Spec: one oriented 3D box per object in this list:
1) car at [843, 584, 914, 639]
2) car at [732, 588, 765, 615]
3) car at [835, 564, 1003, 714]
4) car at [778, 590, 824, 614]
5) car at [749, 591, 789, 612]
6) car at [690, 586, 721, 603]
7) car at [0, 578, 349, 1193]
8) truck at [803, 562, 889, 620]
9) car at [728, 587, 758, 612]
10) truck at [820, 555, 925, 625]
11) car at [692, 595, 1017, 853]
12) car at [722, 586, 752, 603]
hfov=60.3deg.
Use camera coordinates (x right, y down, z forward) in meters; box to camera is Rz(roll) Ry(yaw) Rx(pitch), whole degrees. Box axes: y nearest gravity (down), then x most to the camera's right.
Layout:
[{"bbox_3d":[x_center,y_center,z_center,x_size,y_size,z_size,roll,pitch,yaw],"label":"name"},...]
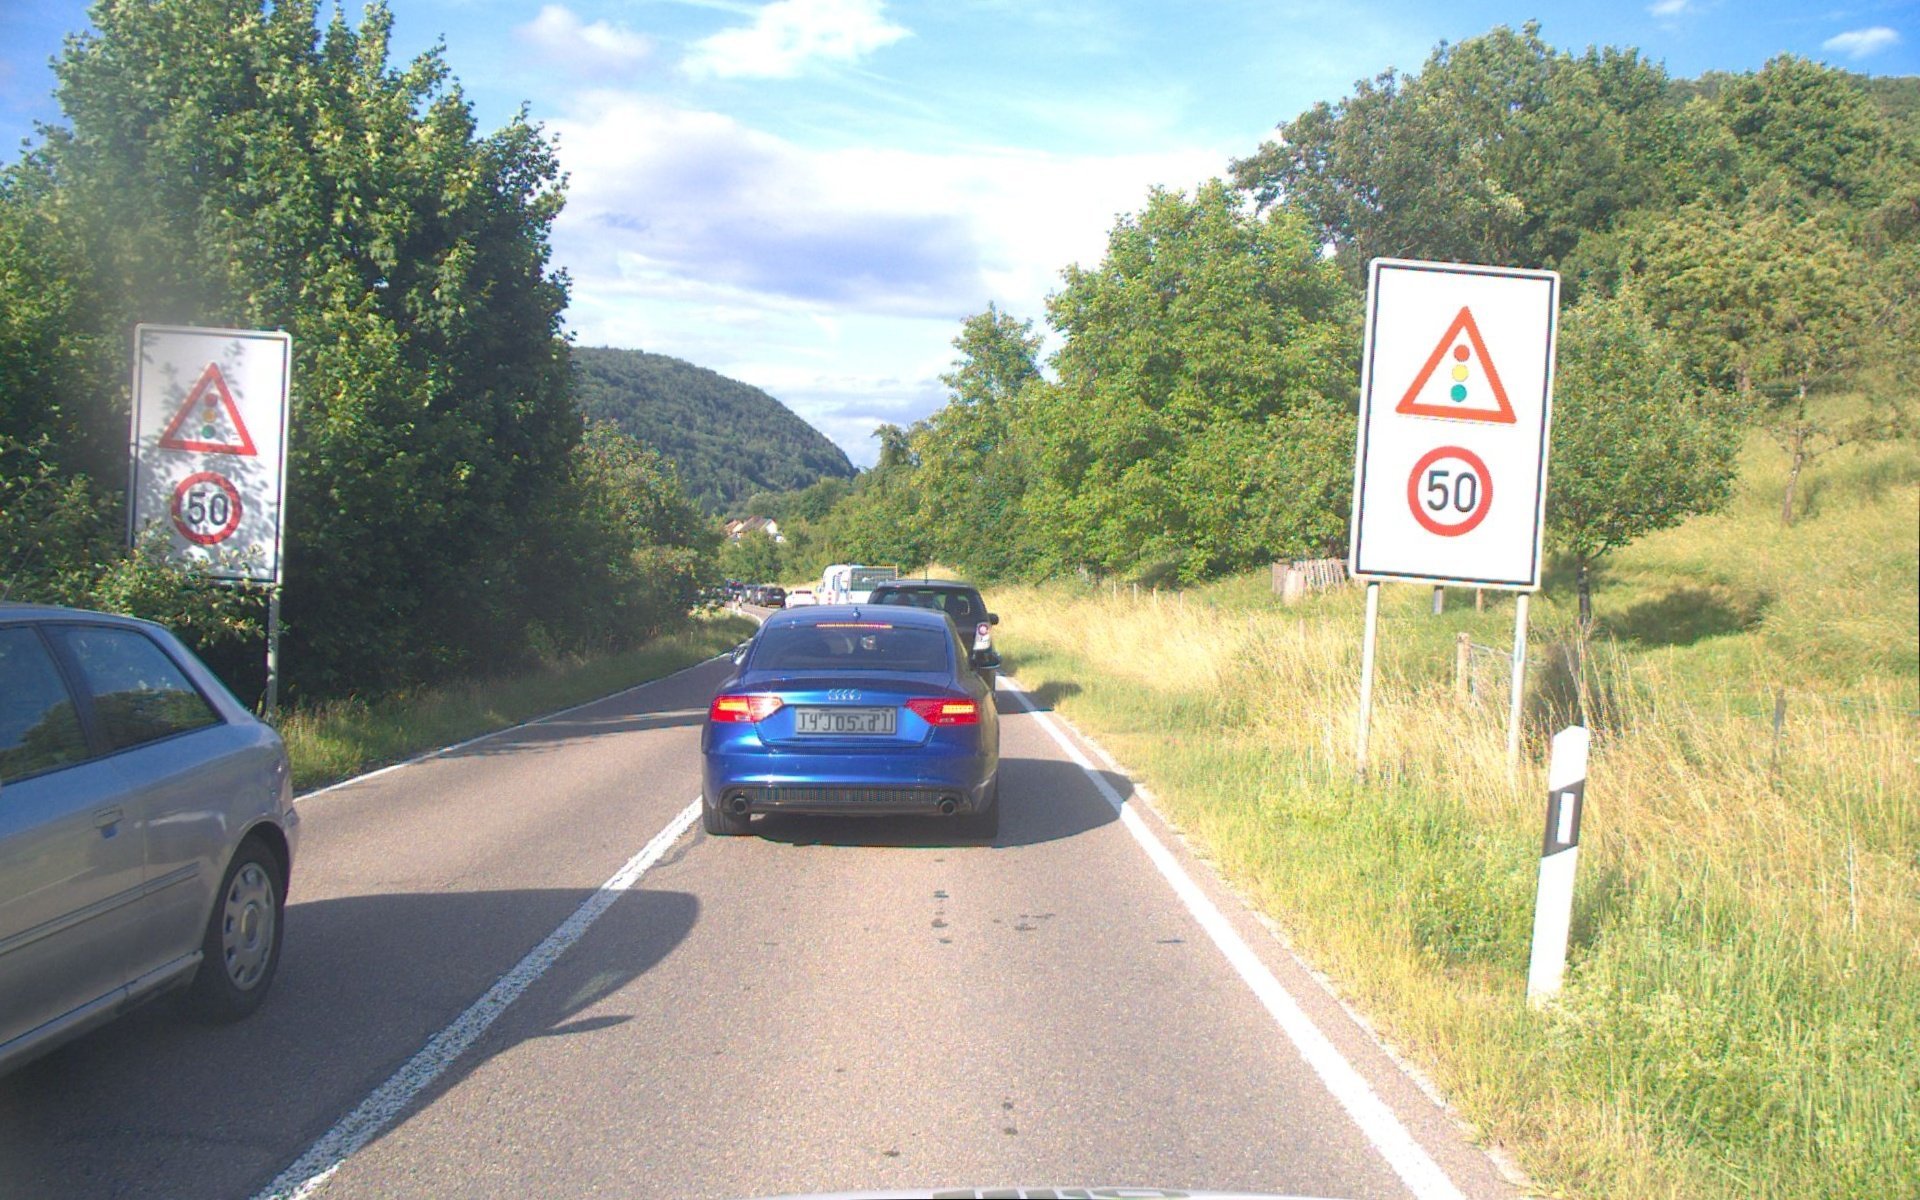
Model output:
[{"bbox_3d":[-2.347,0.326,48.256,1.953,1.508,3.999,1,0,-2],"label":"car"},{"bbox_3d":[-16.769,0.140,131.015,1.962,2.049,3.981,1,0,-17],"label":"car"},{"bbox_3d":[-0.530,0.466,21.493,1.953,1.732,3.999,1,0,-2],"label":"car"},{"bbox_3d":[-10.519,0.104,109.056,1.965,1.508,3.974,1,0,-22],"label":"car"},{"bbox_3d":[-13.961,0.087,120.945,1.965,1.508,3.974,1,0,-22],"label":"car"},{"bbox_3d":[-24.343,-0.516,158.376,1.967,1.508,3.971,1,0,-24],"label":"car"},{"bbox_3d":[-3.069,0.665,4.212,1.657,1.434,3.663,0,0,0],"label":"car"},{"bbox_3d":[-5.912,-0.443,83.853,2.814,2.712,10.612,1,0,-12],"label":"truck"},{"bbox_3d":[-18.410,-0.007,140.348,1.961,2.049,3.983,1,0,-16],"label":"car"},{"bbox_3d":[-3.879,-0.411,70.533,2.814,2.712,10.361,1,0,-12],"label":"truck"},{"bbox_3d":[-0.598,0.689,11.090,1.757,1.383,3.999,1,0,-1],"label":"car"},{"bbox_3d":[-19.735,-0.484,145.985,1.962,1.508,3.980,1,0,-18],"label":"car"}]
